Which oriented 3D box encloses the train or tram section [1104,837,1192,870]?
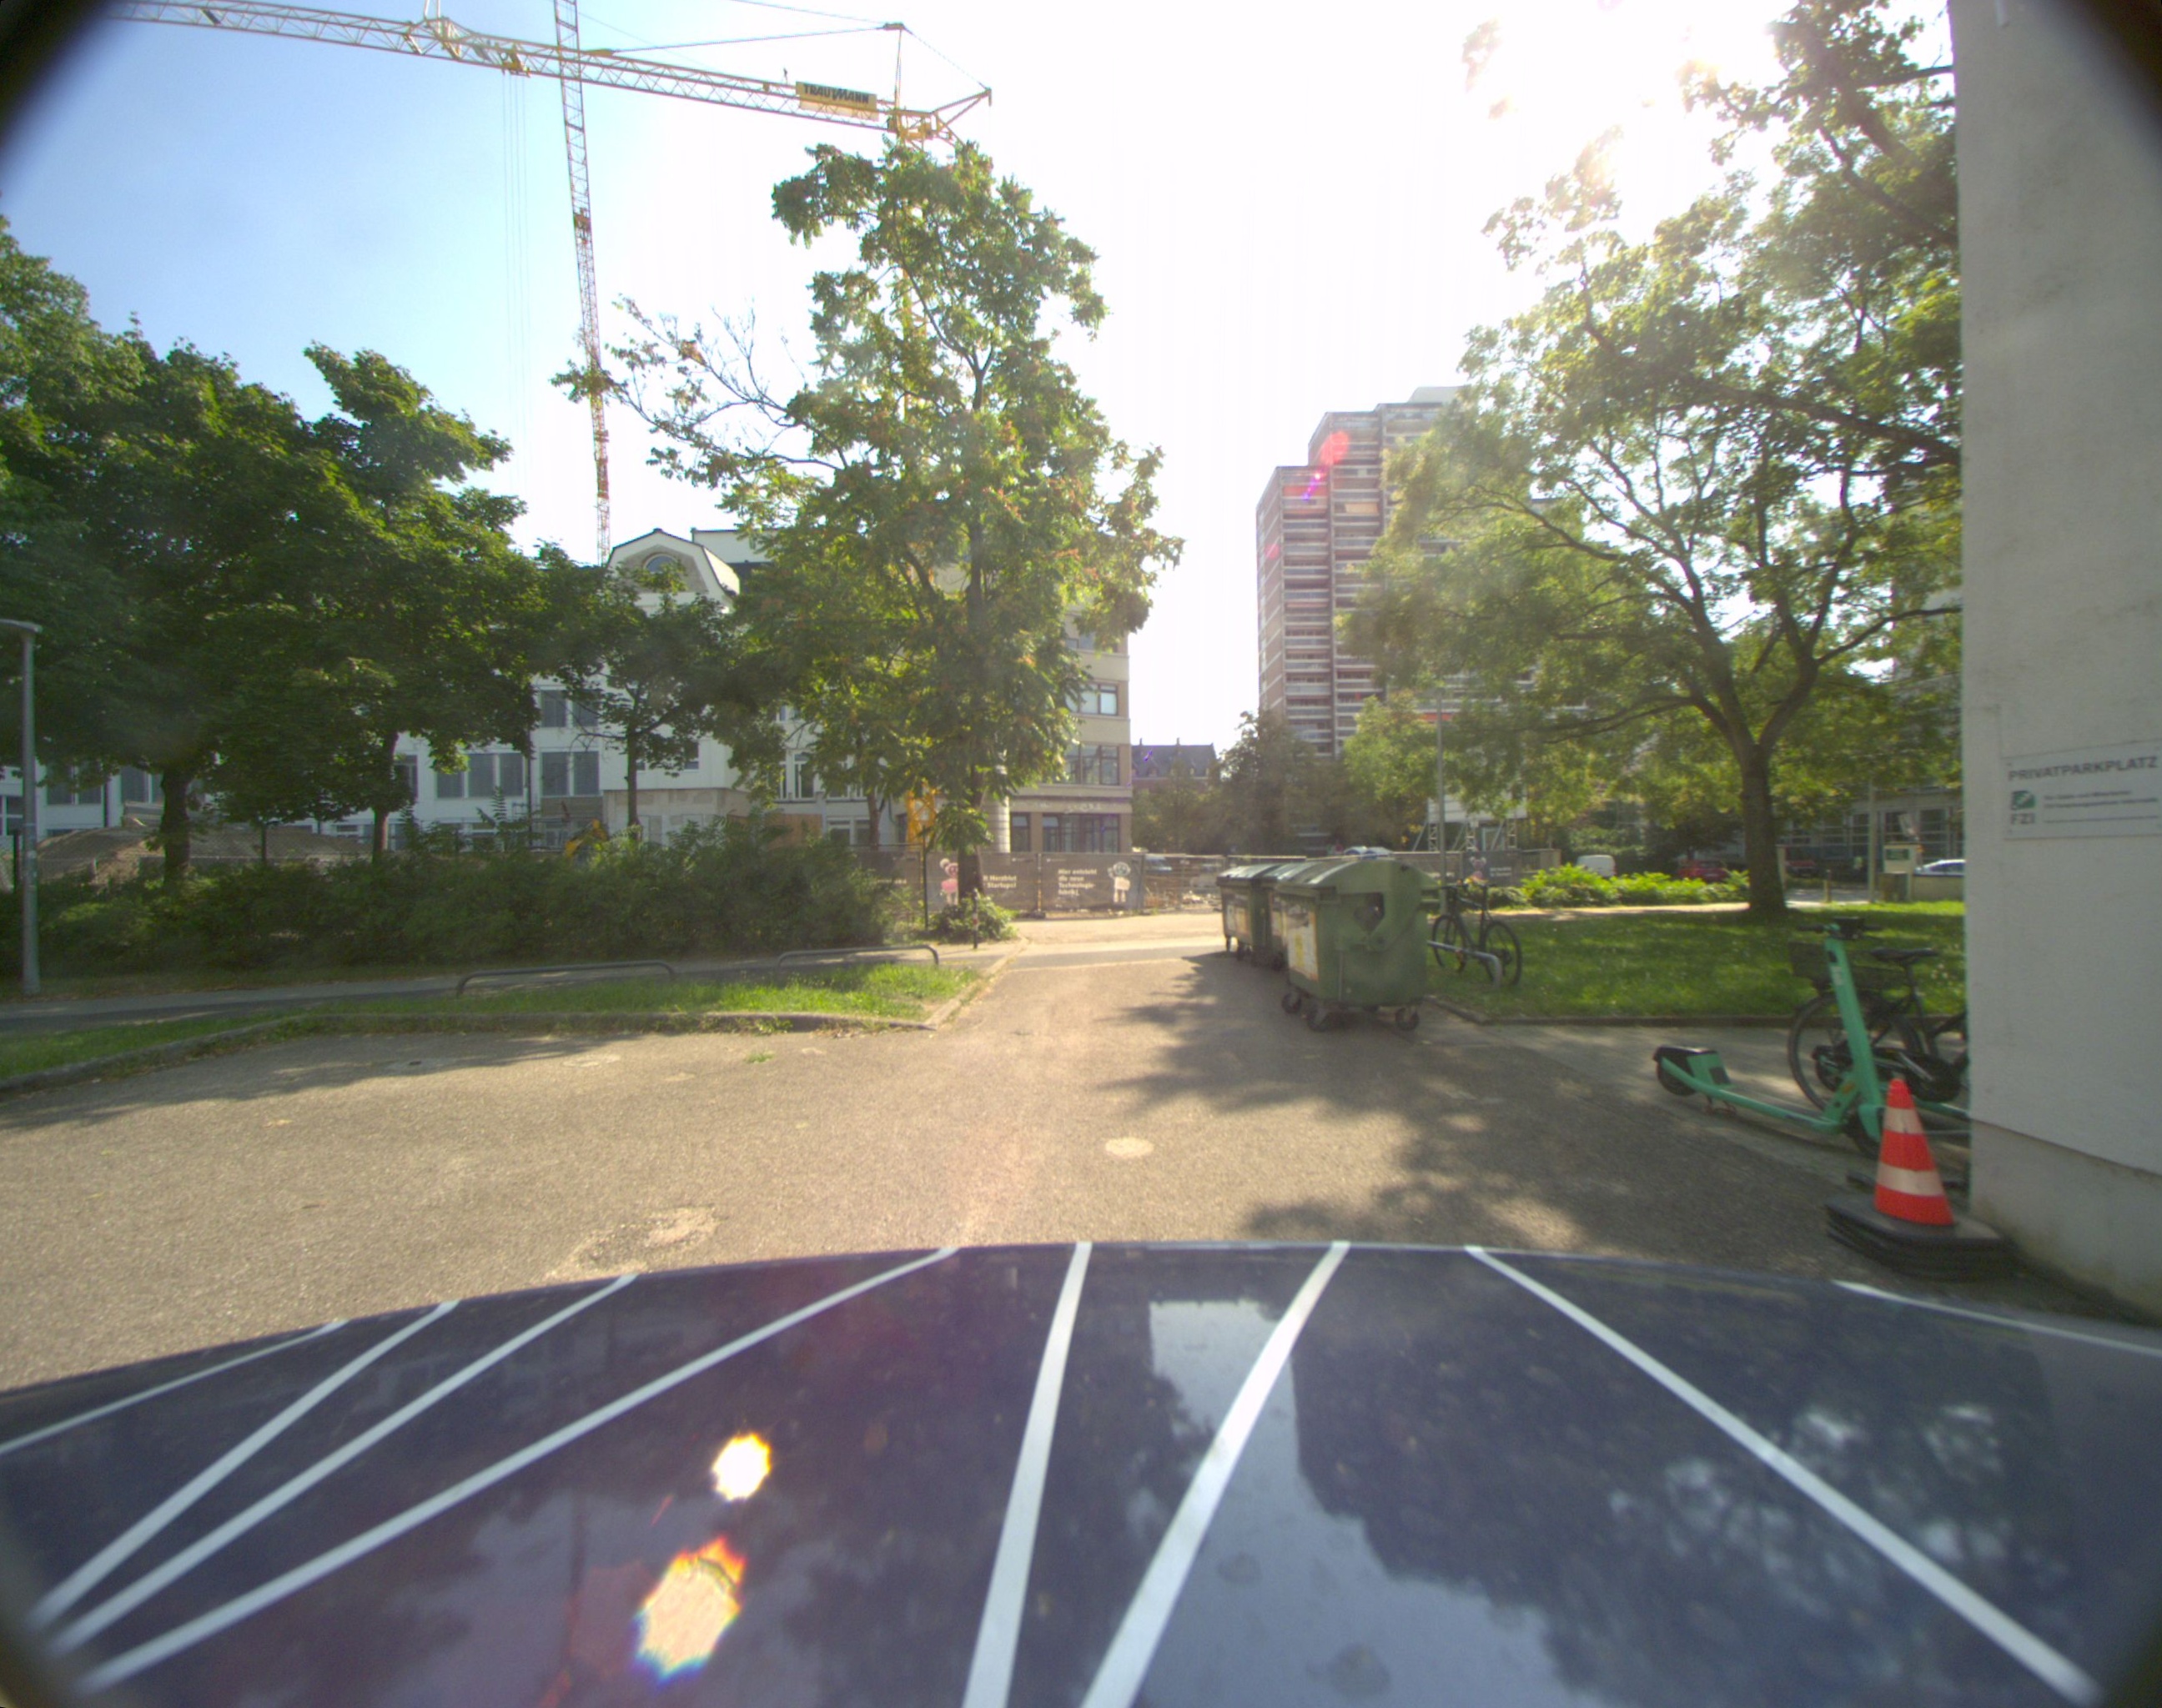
[{"bbox_3d":[7.316,0.028,87.049,2.760,3.551,14.562,-1,0,-26],"label":"train or tram section"}]

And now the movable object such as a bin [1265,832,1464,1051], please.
[{"bbox_3d":[2.410,0.689,6.687,1.184,1.696,1.377,-2,1,-2],"label":"movable object such as a bin"}]

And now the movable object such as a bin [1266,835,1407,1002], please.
[{"bbox_3d":[2.786,0.665,8.477,1.183,1.696,1.395,-1,1,6],"label":"movable object such as a bin"}]

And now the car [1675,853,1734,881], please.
[{"bbox_3d":[36.946,0.746,45.140,1.861,1.534,4.007,-1,0,27],"label":"car"}]

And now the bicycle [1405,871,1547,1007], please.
[{"bbox_3d":[4.152,0.826,8.160,0.477,1.206,2.008,-2,1,0],"label":"bicycle"}]

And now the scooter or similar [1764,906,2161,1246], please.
[{"bbox_3d":[4.202,0.929,3.743,0.325,1.224,1.495,-2,1,0],"label":"scooter or similar"}]

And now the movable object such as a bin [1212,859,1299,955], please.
[{"bbox_3d":[2.887,0.850,12.684,1.037,1.489,1.106,-2,1,-9],"label":"movable object such as a bin"}]

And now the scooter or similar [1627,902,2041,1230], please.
[{"bbox_3d":[3.697,0.926,3.906,0.386,1.255,1.493,-2,1,-18],"label":"scooter or similar"}]

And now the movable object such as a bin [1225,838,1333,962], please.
[{"bbox_3d":[2.892,0.641,11.281,1.184,1.696,1.377,-2,1,-2],"label":"movable object such as a bin"}]

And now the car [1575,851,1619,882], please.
[{"bbox_3d":[33.916,0.791,50.028,1.861,1.892,4.007,-1,0,27],"label":"car"}]

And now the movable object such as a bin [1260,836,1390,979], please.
[{"bbox_3d":[3.113,0.646,9.876,1.184,1.696,1.377,-2,1,-2],"label":"movable object such as a bin"}]

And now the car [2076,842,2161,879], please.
[{"bbox_3d":[42.366,0.235,29.845,1.793,1.412,4.004,-1,0,12],"label":"car"}]
